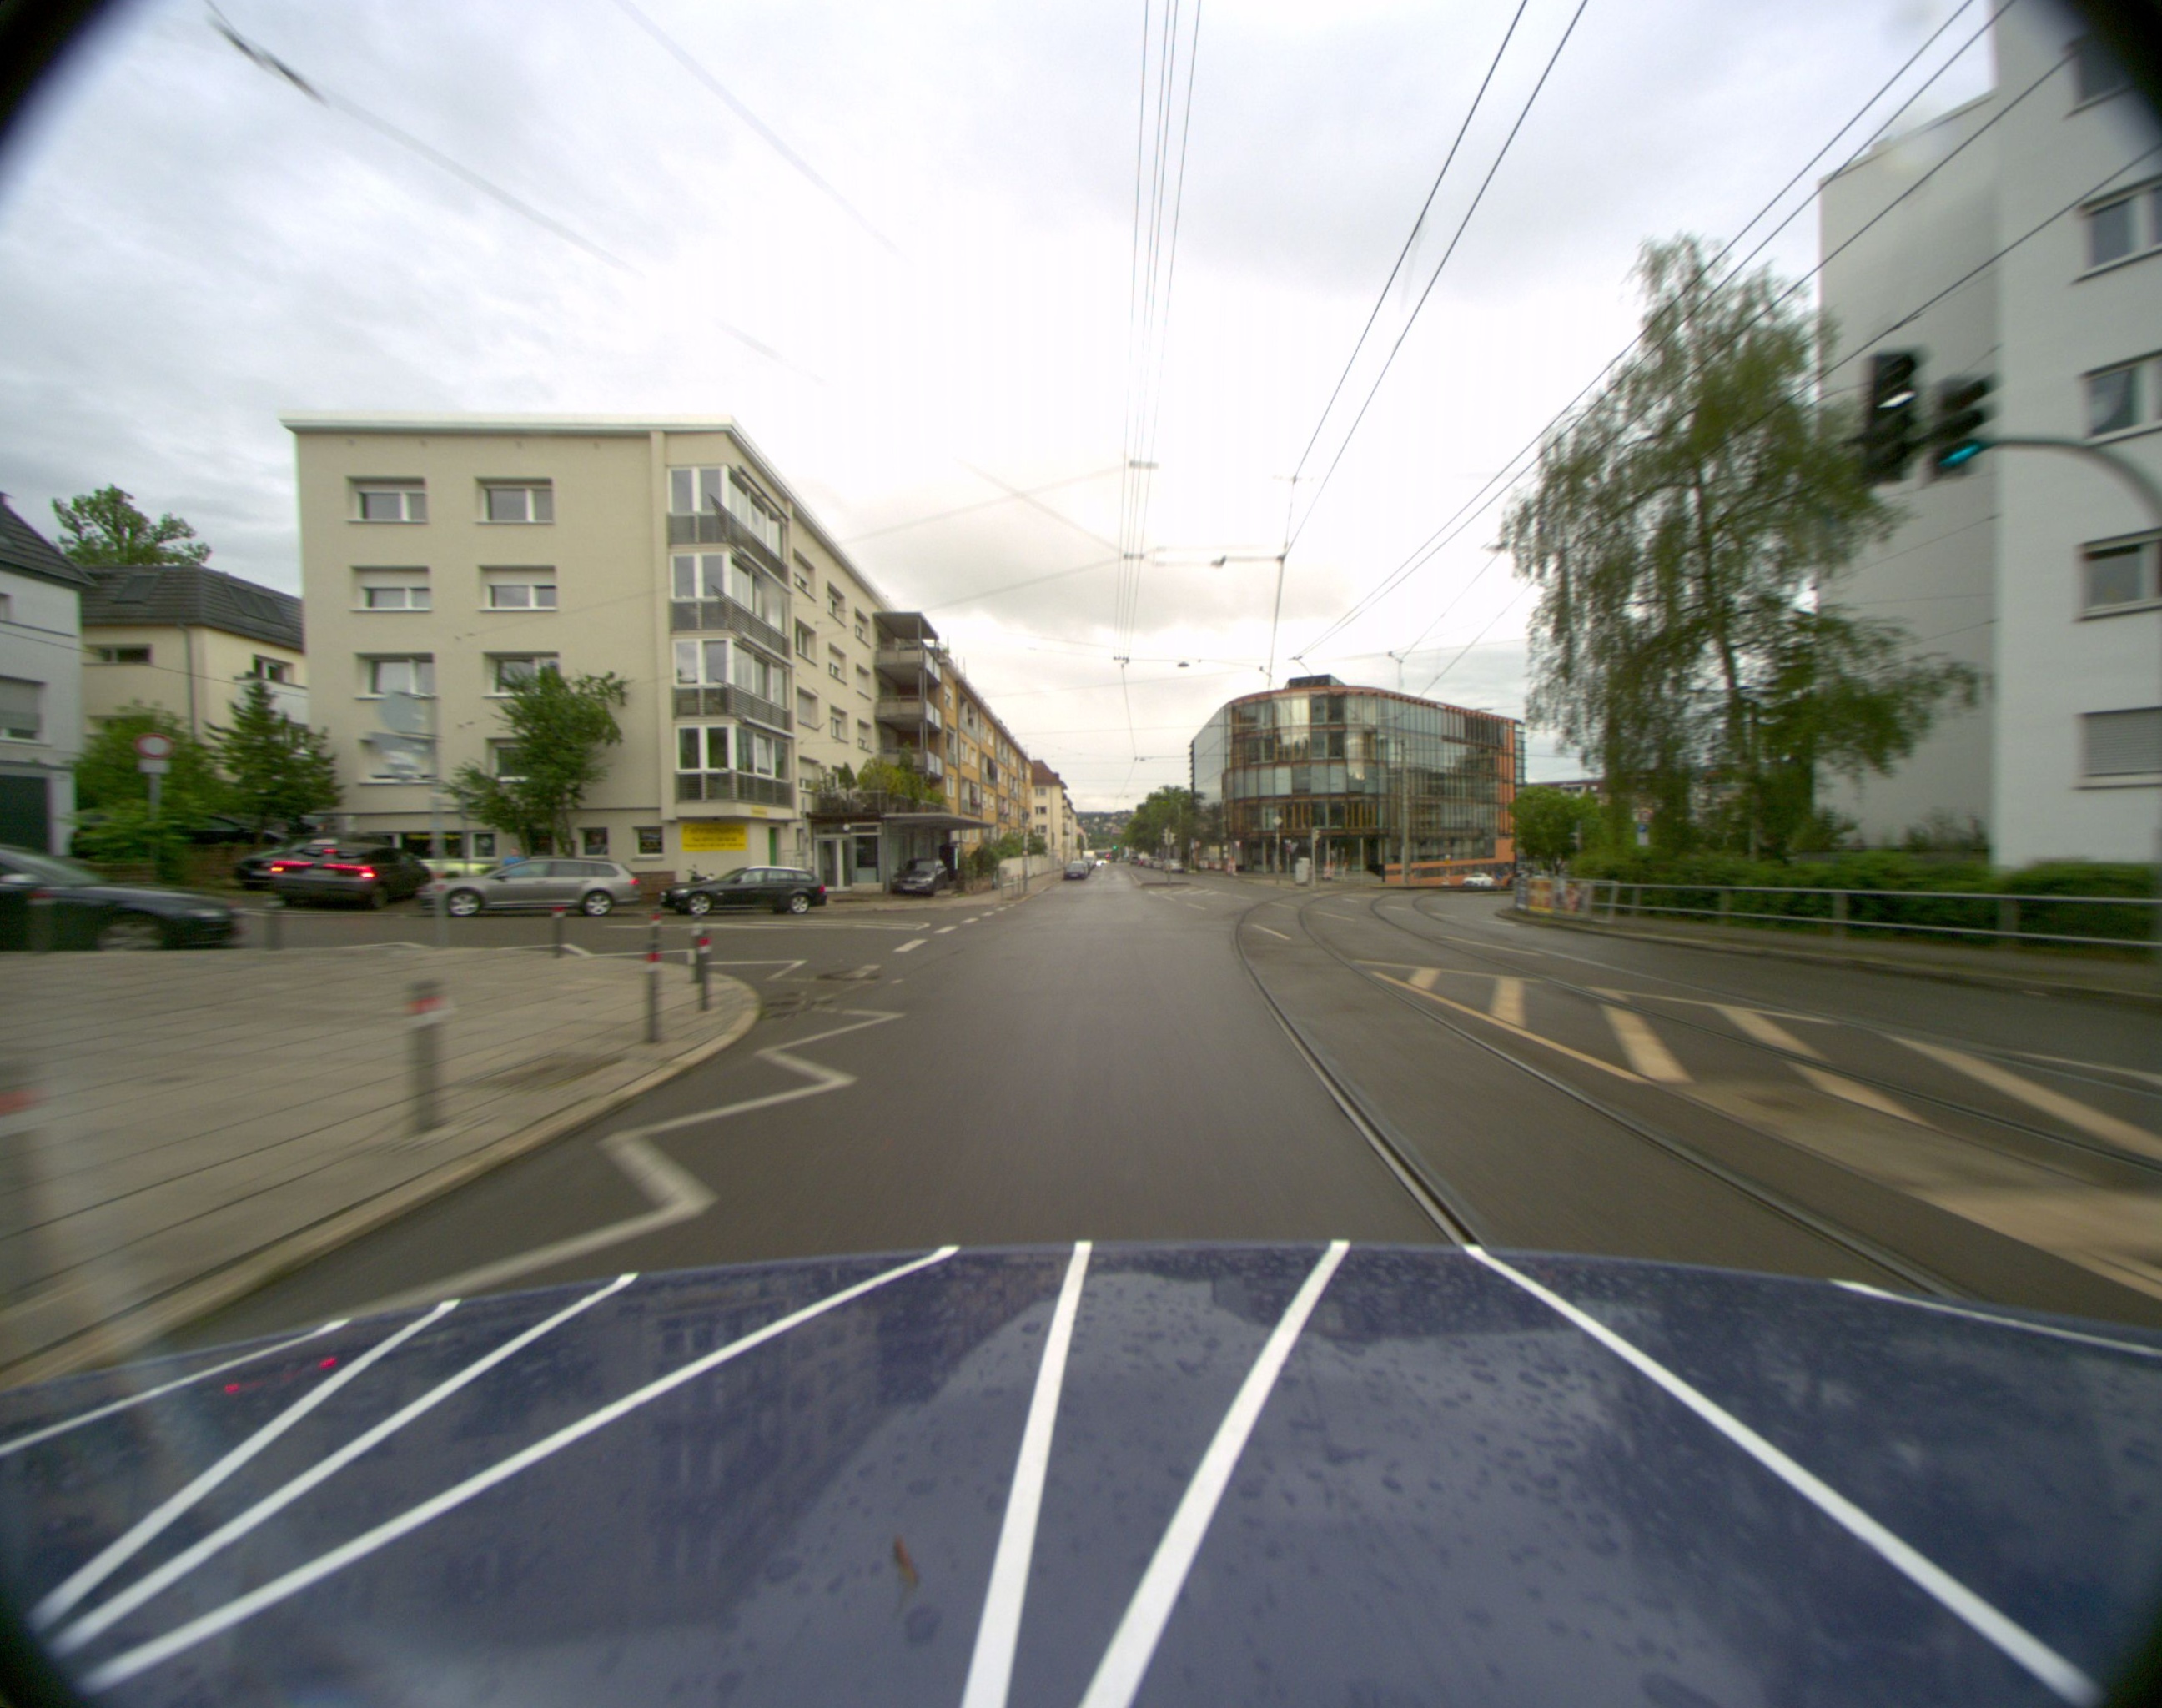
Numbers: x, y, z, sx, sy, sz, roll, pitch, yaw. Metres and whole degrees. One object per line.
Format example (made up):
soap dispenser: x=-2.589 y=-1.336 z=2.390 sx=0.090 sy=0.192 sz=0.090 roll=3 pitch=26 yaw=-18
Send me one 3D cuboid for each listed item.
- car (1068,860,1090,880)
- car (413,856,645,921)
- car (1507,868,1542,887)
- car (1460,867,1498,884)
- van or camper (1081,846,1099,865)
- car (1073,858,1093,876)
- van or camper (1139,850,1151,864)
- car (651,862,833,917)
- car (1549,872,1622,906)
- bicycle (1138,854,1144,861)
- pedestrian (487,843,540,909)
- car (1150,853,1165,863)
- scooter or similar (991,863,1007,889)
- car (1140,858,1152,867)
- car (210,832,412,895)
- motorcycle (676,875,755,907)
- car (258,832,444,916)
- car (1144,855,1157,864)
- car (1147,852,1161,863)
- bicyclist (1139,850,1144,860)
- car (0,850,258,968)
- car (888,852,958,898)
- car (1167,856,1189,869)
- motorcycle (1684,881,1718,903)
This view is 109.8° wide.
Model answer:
car: x=-0.142 y=1.309 z=63.728 sx=1.734 sy=1.451 sz=4.477 roll=-2 pitch=1 yaw=1
car: x=-13.681 y=0.868 z=19.025 sx=4.459 sy=1.448 sz=1.997 roll=3 pitch=-2 yaw=-40
car: x=48.155 y=2.521 z=82.490 sx=4.007 sy=1.882 sz=1.912 roll=-3 pitch=2 yaw=-39
car: x=39.496 y=2.121 z=75.420 sx=4.007 sy=1.488 sz=1.912 roll=-3 pitch=2 yaw=-39
van or camper: x=1.635 y=0.192 z=132.640 sx=2.753 sy=3.040 sz=7.030 roll=-1 pitch=1 yaw=3
car: x=0.179 y=1.140 z=68.434 sx=1.651 sy=1.451 sz=4.101 roll=-2 pitch=1 yaw=0
van or camper: x=12.848 y=0.503 z=152.115 sx=2.143 sy=2.588 sz=5.550 roll=-2 pitch=1 yaw=3
car: x=-9.861 y=1.052 z=22.312 sx=4.460 sy=1.448 sz=1.996 roll=4 pitch=-3 yaw=-42
car: x=24.707 y=1.685 z=37.125 sx=4.502 sy=1.452 sz=1.869 roll=2 pitch=0 yaw=-42
bicycle: x=9.421 y=0.525 z=118.984 sx=0.826 sy=1.142 sz=2.127 roll=-1 pitch=1 yaw=2
pedestrian: x=-16.071 y=0.613 z=21.560 sx=1.025 sy=1.788 sz=0.777 roll=4 pitch=-1 yaw=-30
car: x=12.087 y=0.583 z=120.385 sx=1.880 sy=1.390 sz=3.999 roll=-1 pitch=1 yaw=-1
scooter or similar: x=-4.446 y=1.154 z=41.138 sx=0.536 sy=1.319 sz=1.659 roll=4 pitch=1 yaw=3
car: x=12.565 y=1.683 z=146.375 sx=1.998 sy=1.565 sz=3.999 roll=-2 pitch=1 yaw=1
car: x=-21.272 y=0.210 z=21.274 sx=2.000 sy=1.537 sz=3.995 roll=-2 pitch=1 yaw=-11
motorcycle: x=-11.920 y=1.221 z=24.809 sx=2.219 sy=0.973 sz=0.550 roll=3 pitch=-1 yaw=-41
car: x=-18.285 y=0.427 z=19.338 sx=2.005 sy=1.608 sz=4.437 roll=6 pitch=1 yaw=-25
car: x=12.523 y=0.950 z=136.850 sx=1.880 sy=1.456 sz=3.517 roll=-1 pitch=1 yaw=-1
car: x=12.041 y=0.495 z=125.673 sx=1.880 sy=1.699 sz=3.999 roll=-1 pitch=1 yaw=-1
bicyclist: x=9.468 y=0.172 z=118.923 sx=0.826 sy=1.453 sz=1.140 roll=-2 pitch=2 yaw=2
car: x=-14.095 y=0.668 z=9.804 sx=4.490 sy=1.360 sz=1.936 roll=5 pitch=-1 yaw=-42
car: x=-6.655 y=0.829 z=32.521 sx=1.857 sy=1.495 sz=4.446 roll=3 pitch=4 yaw=2
car: x=10.254 y=0.898 z=80.713 sx=1.862 sy=1.386 sz=4.645 roll=0 pitch=0 yaw=1
motorcycle: x=28.069 y=1.699 z=34.402 sx=2.240 sy=0.934 sz=0.777 roll=0 pitch=-2 yaw=-41
